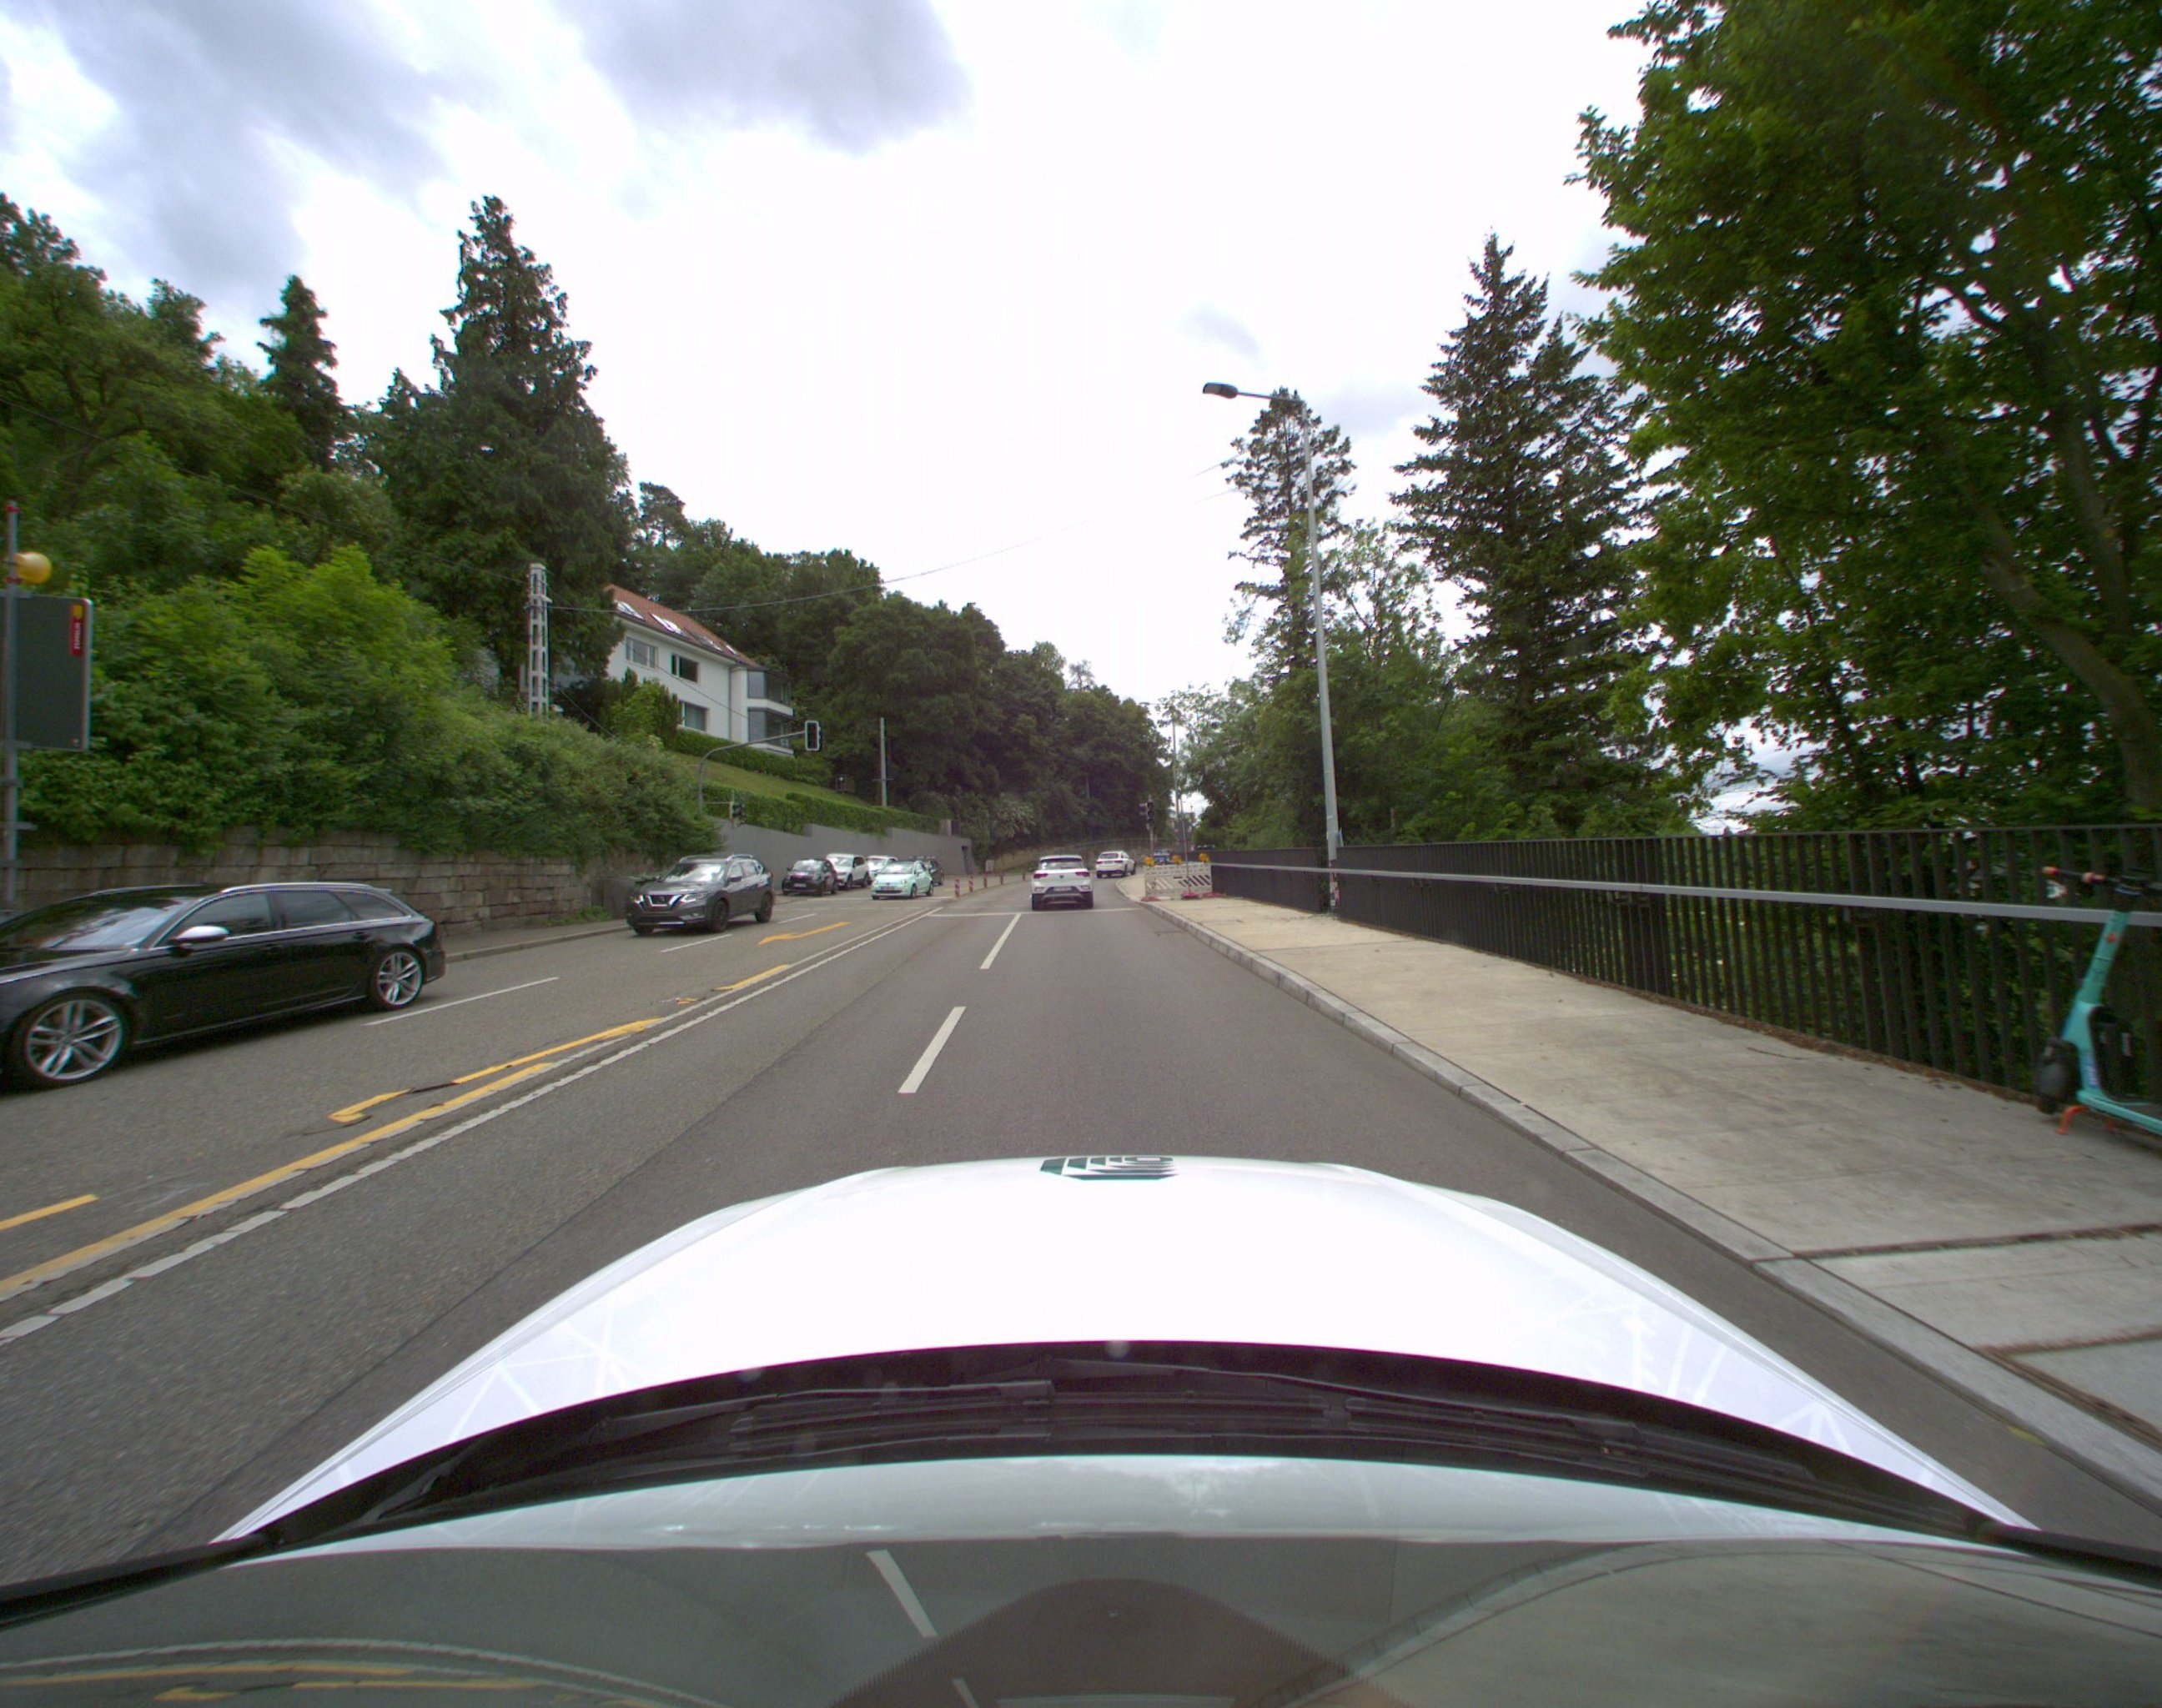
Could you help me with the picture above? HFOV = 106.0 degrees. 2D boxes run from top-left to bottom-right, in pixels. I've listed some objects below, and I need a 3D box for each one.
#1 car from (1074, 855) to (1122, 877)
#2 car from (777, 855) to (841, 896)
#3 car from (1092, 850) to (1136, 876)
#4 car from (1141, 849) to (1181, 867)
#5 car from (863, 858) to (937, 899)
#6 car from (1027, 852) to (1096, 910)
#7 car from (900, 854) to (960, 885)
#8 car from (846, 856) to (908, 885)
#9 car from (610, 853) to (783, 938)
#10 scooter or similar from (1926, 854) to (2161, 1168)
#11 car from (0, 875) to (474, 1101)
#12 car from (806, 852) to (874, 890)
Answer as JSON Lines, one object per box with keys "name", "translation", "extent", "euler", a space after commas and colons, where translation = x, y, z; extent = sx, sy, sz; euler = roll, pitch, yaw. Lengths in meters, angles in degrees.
{"name": "car", "translation": [1.317, 0.898, 61.420], "extent": [1.888, 1.574, 4.025], "euler": [-1, -1, 32]}
{"name": "car", "translation": [-11.491, 0.885, 34.528], "extent": [1.706, 1.573, 2.956], "euler": [2, 1, -1]}
{"name": "car", "translation": [2.123, 0.572, 51.672], "extent": [1.979, 1.586, 4.016], "euler": [0, -1, 15]}
{"name": "car", "translation": [7.051, 0.378, 71.522], "extent": [1.974, 1.541, 4.035], "euler": [-1, -1, 30]}
{"name": "car", "translation": [-7.031, 0.923, 32.021], "extent": [1.702, 1.466, 3.667], "euler": [0, 0, 7]}
{"name": "car", "translation": [-0.640, 0.749, 24.433], "extent": [1.863, 1.536, 3.799], "euler": [-1, 0, -3]}
{"name": "car", "translation": [-8.241, 0.842, 44.807], "extent": [1.699, 1.598, 4.221], "euler": [-1, -1, 13]}
{"name": "car", "translation": [-11.277, 0.893, 45.382], "extent": [1.822, 1.572, 4.484], "euler": [0, 0, 7]}
{"name": "car", "translation": [-8.714, 0.855, 18.984], "extent": [1.878, 1.697, 4.668], "euler": [-1, 0, -2]}
{"name": "scooter or similar", "translation": [4.632, 0.638, 3.608], "extent": [0.532, 1.226, 1.208], "euler": [-3, 1, 5]}
{"name": "car", "translation": [-8.372, 0.993, 7.625], "extent": [1.805, 1.430, 4.871], "euler": [-1, 0, -2]}
{"name": "car", "translation": [-11.616, 0.785, 39.593], "extent": [1.852, 1.731, 4.761], "euler": [0, 0, 1]}
